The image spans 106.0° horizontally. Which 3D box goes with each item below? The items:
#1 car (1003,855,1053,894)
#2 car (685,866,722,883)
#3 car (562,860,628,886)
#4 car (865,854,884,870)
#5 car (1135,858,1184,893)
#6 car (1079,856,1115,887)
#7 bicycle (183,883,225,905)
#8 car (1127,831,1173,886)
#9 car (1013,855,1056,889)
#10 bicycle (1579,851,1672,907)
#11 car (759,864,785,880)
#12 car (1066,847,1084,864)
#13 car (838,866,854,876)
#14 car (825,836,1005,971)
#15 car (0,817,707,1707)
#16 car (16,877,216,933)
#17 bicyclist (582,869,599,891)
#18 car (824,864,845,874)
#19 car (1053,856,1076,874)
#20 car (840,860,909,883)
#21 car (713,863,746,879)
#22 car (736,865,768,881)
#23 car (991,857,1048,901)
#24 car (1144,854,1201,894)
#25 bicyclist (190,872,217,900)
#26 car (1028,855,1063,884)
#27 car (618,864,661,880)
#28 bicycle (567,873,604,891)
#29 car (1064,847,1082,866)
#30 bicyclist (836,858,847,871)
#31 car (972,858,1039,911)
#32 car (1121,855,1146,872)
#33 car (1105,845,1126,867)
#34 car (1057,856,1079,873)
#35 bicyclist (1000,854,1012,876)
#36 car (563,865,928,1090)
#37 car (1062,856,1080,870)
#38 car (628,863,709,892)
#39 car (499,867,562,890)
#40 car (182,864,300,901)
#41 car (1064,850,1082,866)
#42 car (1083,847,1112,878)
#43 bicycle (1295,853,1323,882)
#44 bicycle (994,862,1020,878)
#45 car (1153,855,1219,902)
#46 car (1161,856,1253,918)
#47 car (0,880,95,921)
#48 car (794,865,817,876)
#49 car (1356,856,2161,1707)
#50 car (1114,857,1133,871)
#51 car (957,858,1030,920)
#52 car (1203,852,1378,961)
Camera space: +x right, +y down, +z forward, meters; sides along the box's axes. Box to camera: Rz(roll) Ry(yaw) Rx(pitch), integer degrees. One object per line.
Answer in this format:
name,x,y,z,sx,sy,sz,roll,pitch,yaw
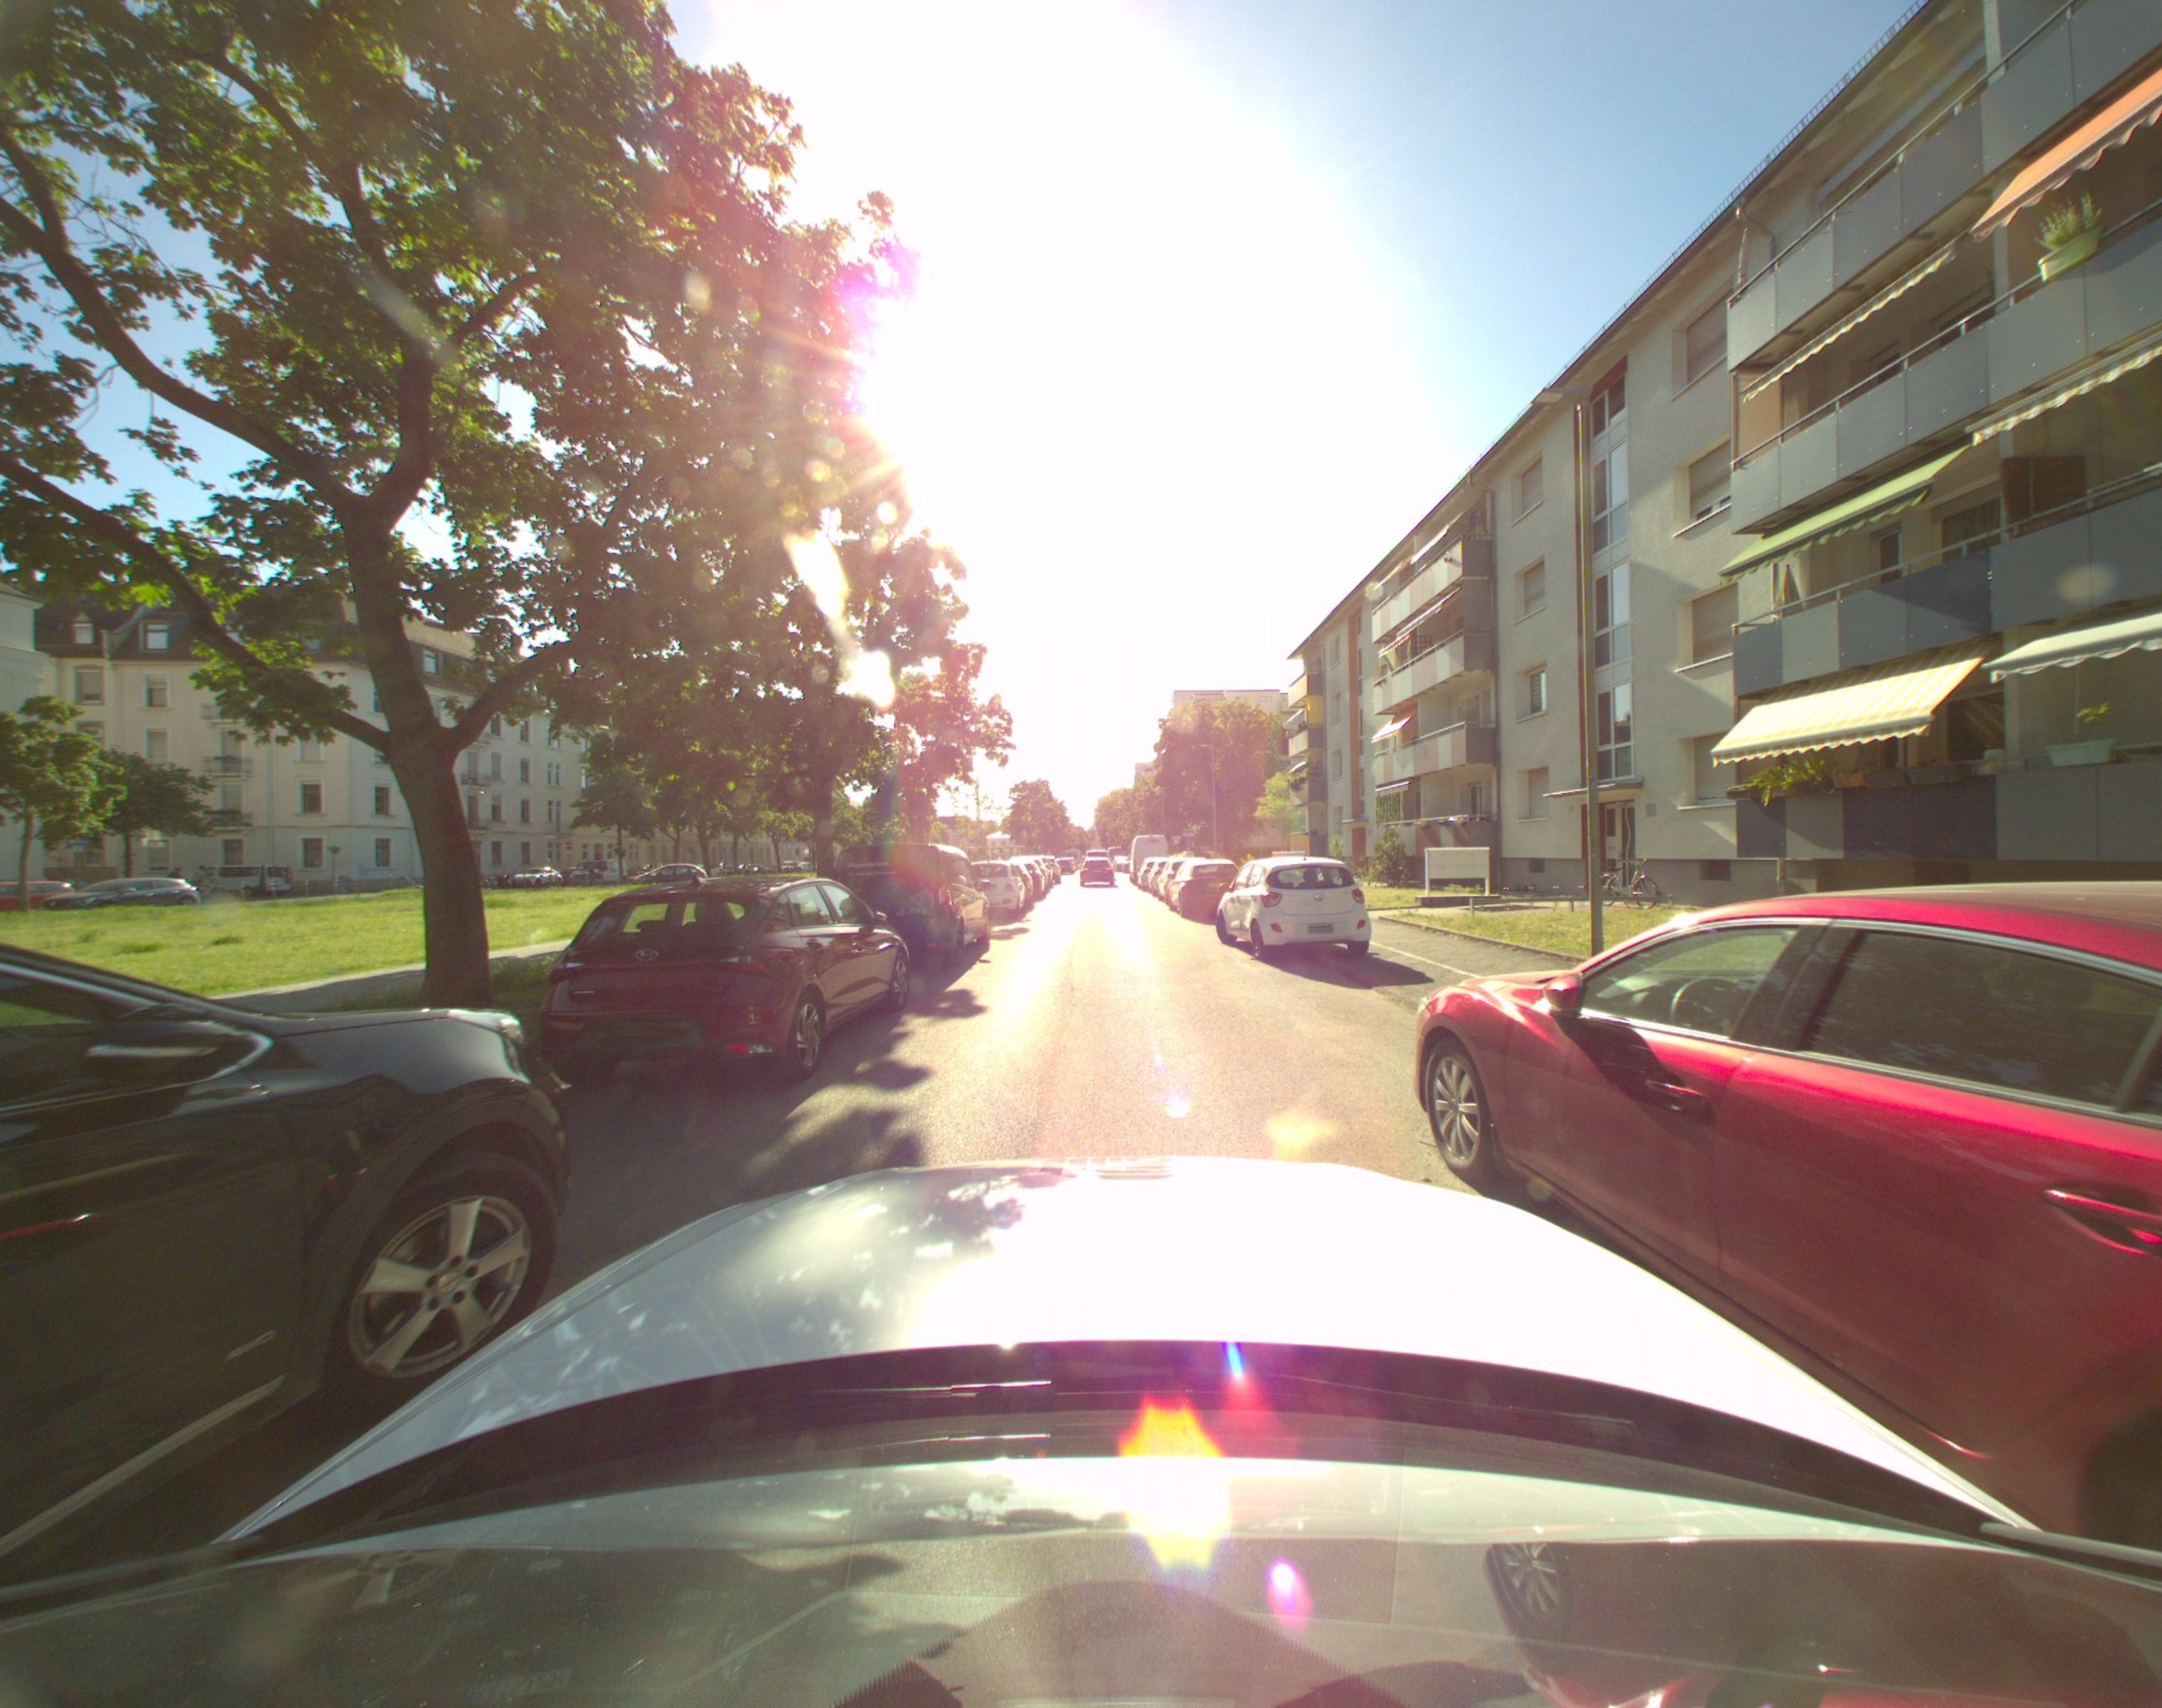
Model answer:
car,-2.357,0.876,37.040,1.813,1.610,4.739,-3,0,1
car,-36.524,1.919,78.875,1.689,1.526,4.078,-1,0,-2
car,-36.984,1.412,62.129,2.076,1.872,5.095,-1,0,-2
car,-36.186,1.360,142.767,1.910,2.744,5.621,-1,0,-2
car,3.561,0.947,37.621,1.843,1.466,4.200,0,0,-1
car,0.867,0.848,42.386,1.772,1.531,4.002,0,0,2
bicycle,-43.734,1.972,40.621,0.527,1.016,1.485,-1,0,-5
car,3.780,0.235,45.595,2.134,2.713,6.845,-3,0,2
car,-2.418,0.910,43.128,1.836,1.638,4.715,-3,0,1
bicycle,11.254,0.489,16.919,0.521,1.071,2.009,-3,0,0
car,-36.372,2.109,95.951,1.627,1.686,4.078,-1,0,-2
car,-1.011,0.283,134.292,2.607,2.645,6.117,-1,0,2
car,-35.930,2.546,124.538,1.513,1.440,3.229,-1,0,-2
car,-2.498,0.704,13.580,1.858,1.785,4.991,-1,-1,1
car,-2.775,0.794,1.232,2.018,1.625,4.759,-2,0,2
car,-37.152,1.891,31.584,2.152,1.820,4.703,-1,0,-1
bicyclist,-31.227,1.641,51.863,0.881,1.363,0.617,-1,1,-33
car,-36.334,2.211,120.025,1.840,1.440,3.775,-1,0,1
car,-1.407,0.997,71.700,1.741,1.425,3.918,-3,-1,2
car,-14.094,1.185,55.649,4.353,1.409,1.906,-1,2,-24
car,-36.284,1.769,84.223,1.627,1.549,4.352,-1,0,-2
car,-36.464,2.092,90.398,1.752,1.549,4.525,-1,0,-2
car,-2.338,0.930,32.009,1.867,1.519,4.469,-3,0,0
car,3.637,0.766,32.935,1.871,1.475,4.141,-1,0,1
bicyclist,-43.732,1.568,40.600,0.531,1.364,0.784,-1,0,-5
car,-2.112,0.901,49.648,1.749,1.647,4.289,-3,0,2
car,-36.570,1.480,67.506,1.689,1.279,3.523,-1,0,-2
bicycle,-31.426,1.766,51.691,1.988,1.016,0.652,-1,0,-31
car,-1.066,0.343,108.833,2.090,2.496,4.128,-1,0,2
bicyclist,-33.001,1.433,112.180,0.938,1.837,1.449,-2,-1,0
car,-2.389,0.939,26.839,1.750,1.492,4.666,-3,0,-1
car,4.835,0.874,75.404,2.117,1.337,4.508,-4,0,2
car,4.330,0.270,102.913,2.157,2.689,5.411,-1,0,-2
car,-1.225,0.993,76.220,1.770,1.495,3.876,-3,-1,2
bicyclist,-5.359,0.780,58.386,0.787,1.596,0.695,-1,0,-2
car,-2.639,0.855,7.500,1.532,1.428,4.089,-1,0,2
car,-1.169,1.038,93.949,1.826,1.500,4.128,-1,0,2
car,-25.609,1.423,50.782,4.354,1.576,1.914,-2,0,-24
car,-42.248,1.869,62.637,1.989,1.586,4.447,-1,0,-3
car,-49.222,1.626,47.815,4.551,2.013,2.138,-1,0,-3
car,-0.999,0.456,102.420,2.091,1.942,4.127,-1,0,1
car,1.195,0.558,56.955,1.887,1.991,4.012,-3,0,2
bicycle,9.645,0.576,34.562,0.594,1.176,2.013,-1,-2,0
bicycle,-5.298,1.147,58.388,1.756,1.127,0.662,-1,-1,-3
car,3.476,0.769,27.559,1.715,1.435,4.153,-2,0,1
car,3.298,0.802,22.128,1.694,1.435,4.470,-3,0,-1
car,-42.621,1.868,31.880,1.987,1.485,4.957,-2,0,0
car,-36.291,2.148,107.284,1.687,1.429,3.776,-1,0,2
car,2.659,0.764,2.618,1.837,1.473,5.064,-1,0,0
car,4.192,0.955,81.362,1.773,1.371,4.128,-1,0,2
car,-2.324,0.885,22.396,1.582,1.492,3.684,-3,0,-1
car,3.287,0.747,13.546,1.743,1.499,3.857,-2,0,-2
